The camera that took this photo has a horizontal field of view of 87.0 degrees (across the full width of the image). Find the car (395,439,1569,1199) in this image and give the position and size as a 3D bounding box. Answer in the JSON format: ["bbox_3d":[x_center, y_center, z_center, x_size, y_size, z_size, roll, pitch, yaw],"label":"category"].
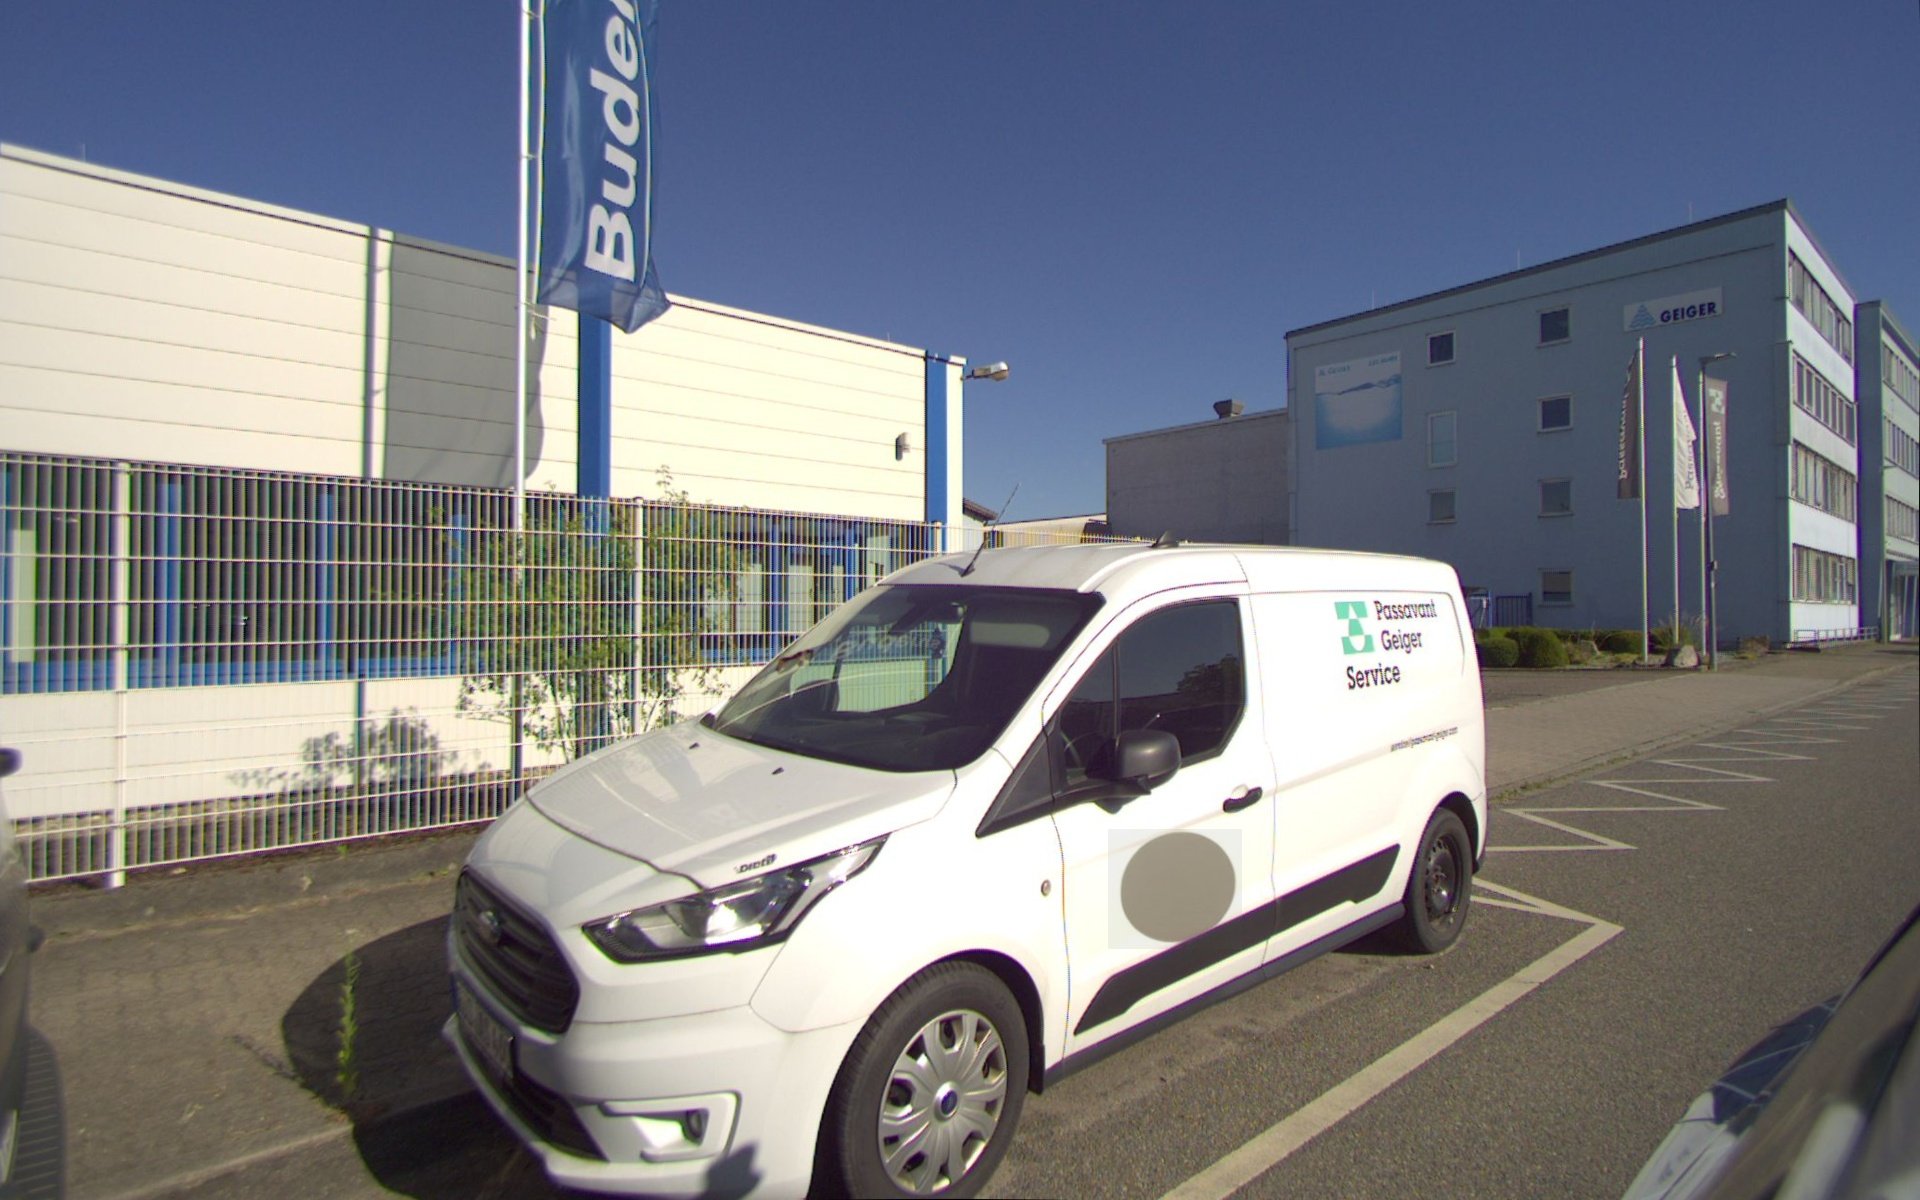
[{"bbox_3d":[0.635,0.612,4.300,5.016,1.821,1.888,-1,-2,-42],"label":"car"}]
